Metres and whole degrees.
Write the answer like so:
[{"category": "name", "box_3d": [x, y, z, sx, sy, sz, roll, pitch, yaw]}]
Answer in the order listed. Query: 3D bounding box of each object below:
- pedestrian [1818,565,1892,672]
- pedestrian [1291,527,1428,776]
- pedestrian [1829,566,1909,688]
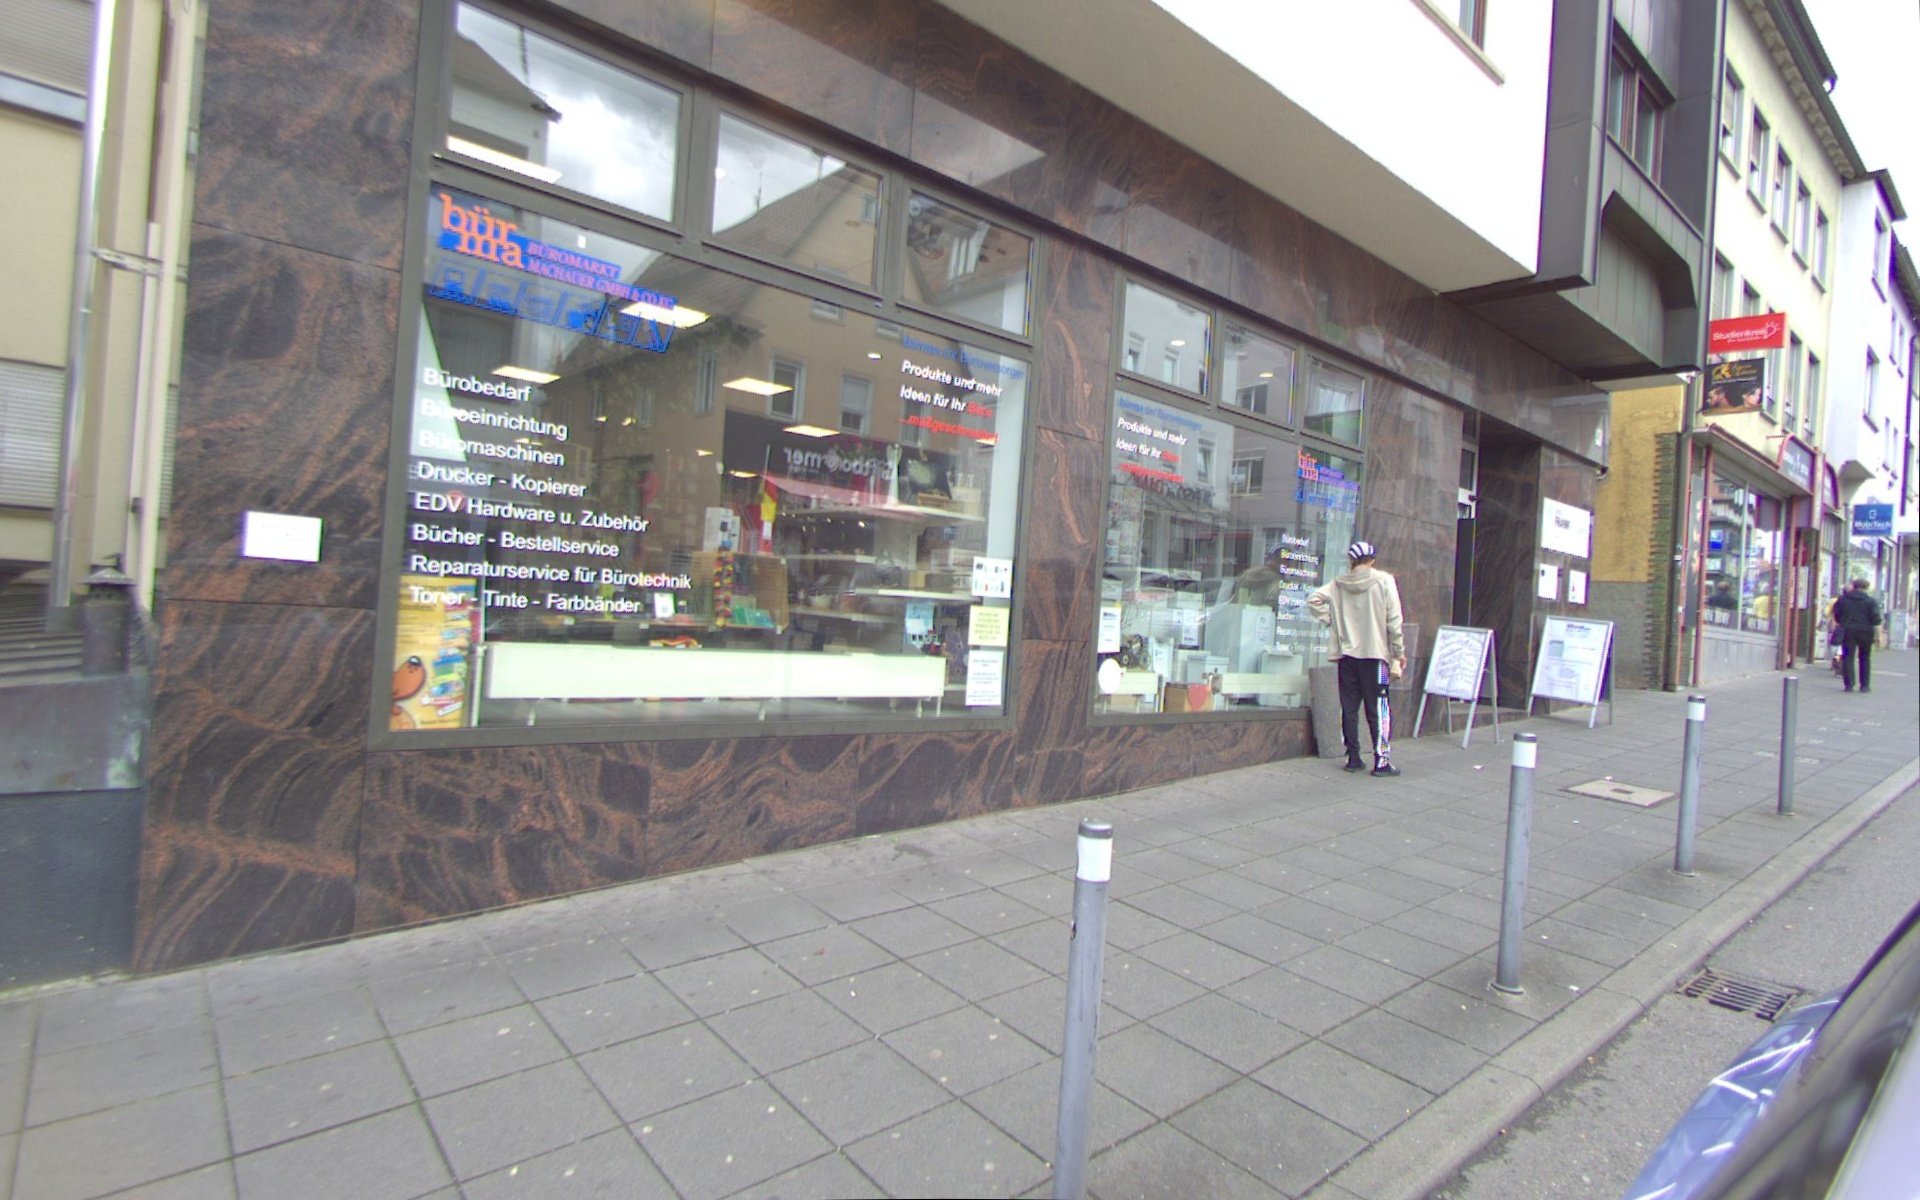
[{"category": "pedestrian", "box_3d": [15.725, 0.317, 17.789, 0.771, 1.773, 0.713, 1, 5, -40]}, {"category": "pedestrian", "box_3d": [2.940, 0.349, 7.456, 0.663, 1.709, 0.535, 7, 4, 44]}, {"category": "pedestrian", "box_3d": [13.828, 0.388, 15.396, 0.773, 1.774, 0.713, 1, 3, -40]}]
